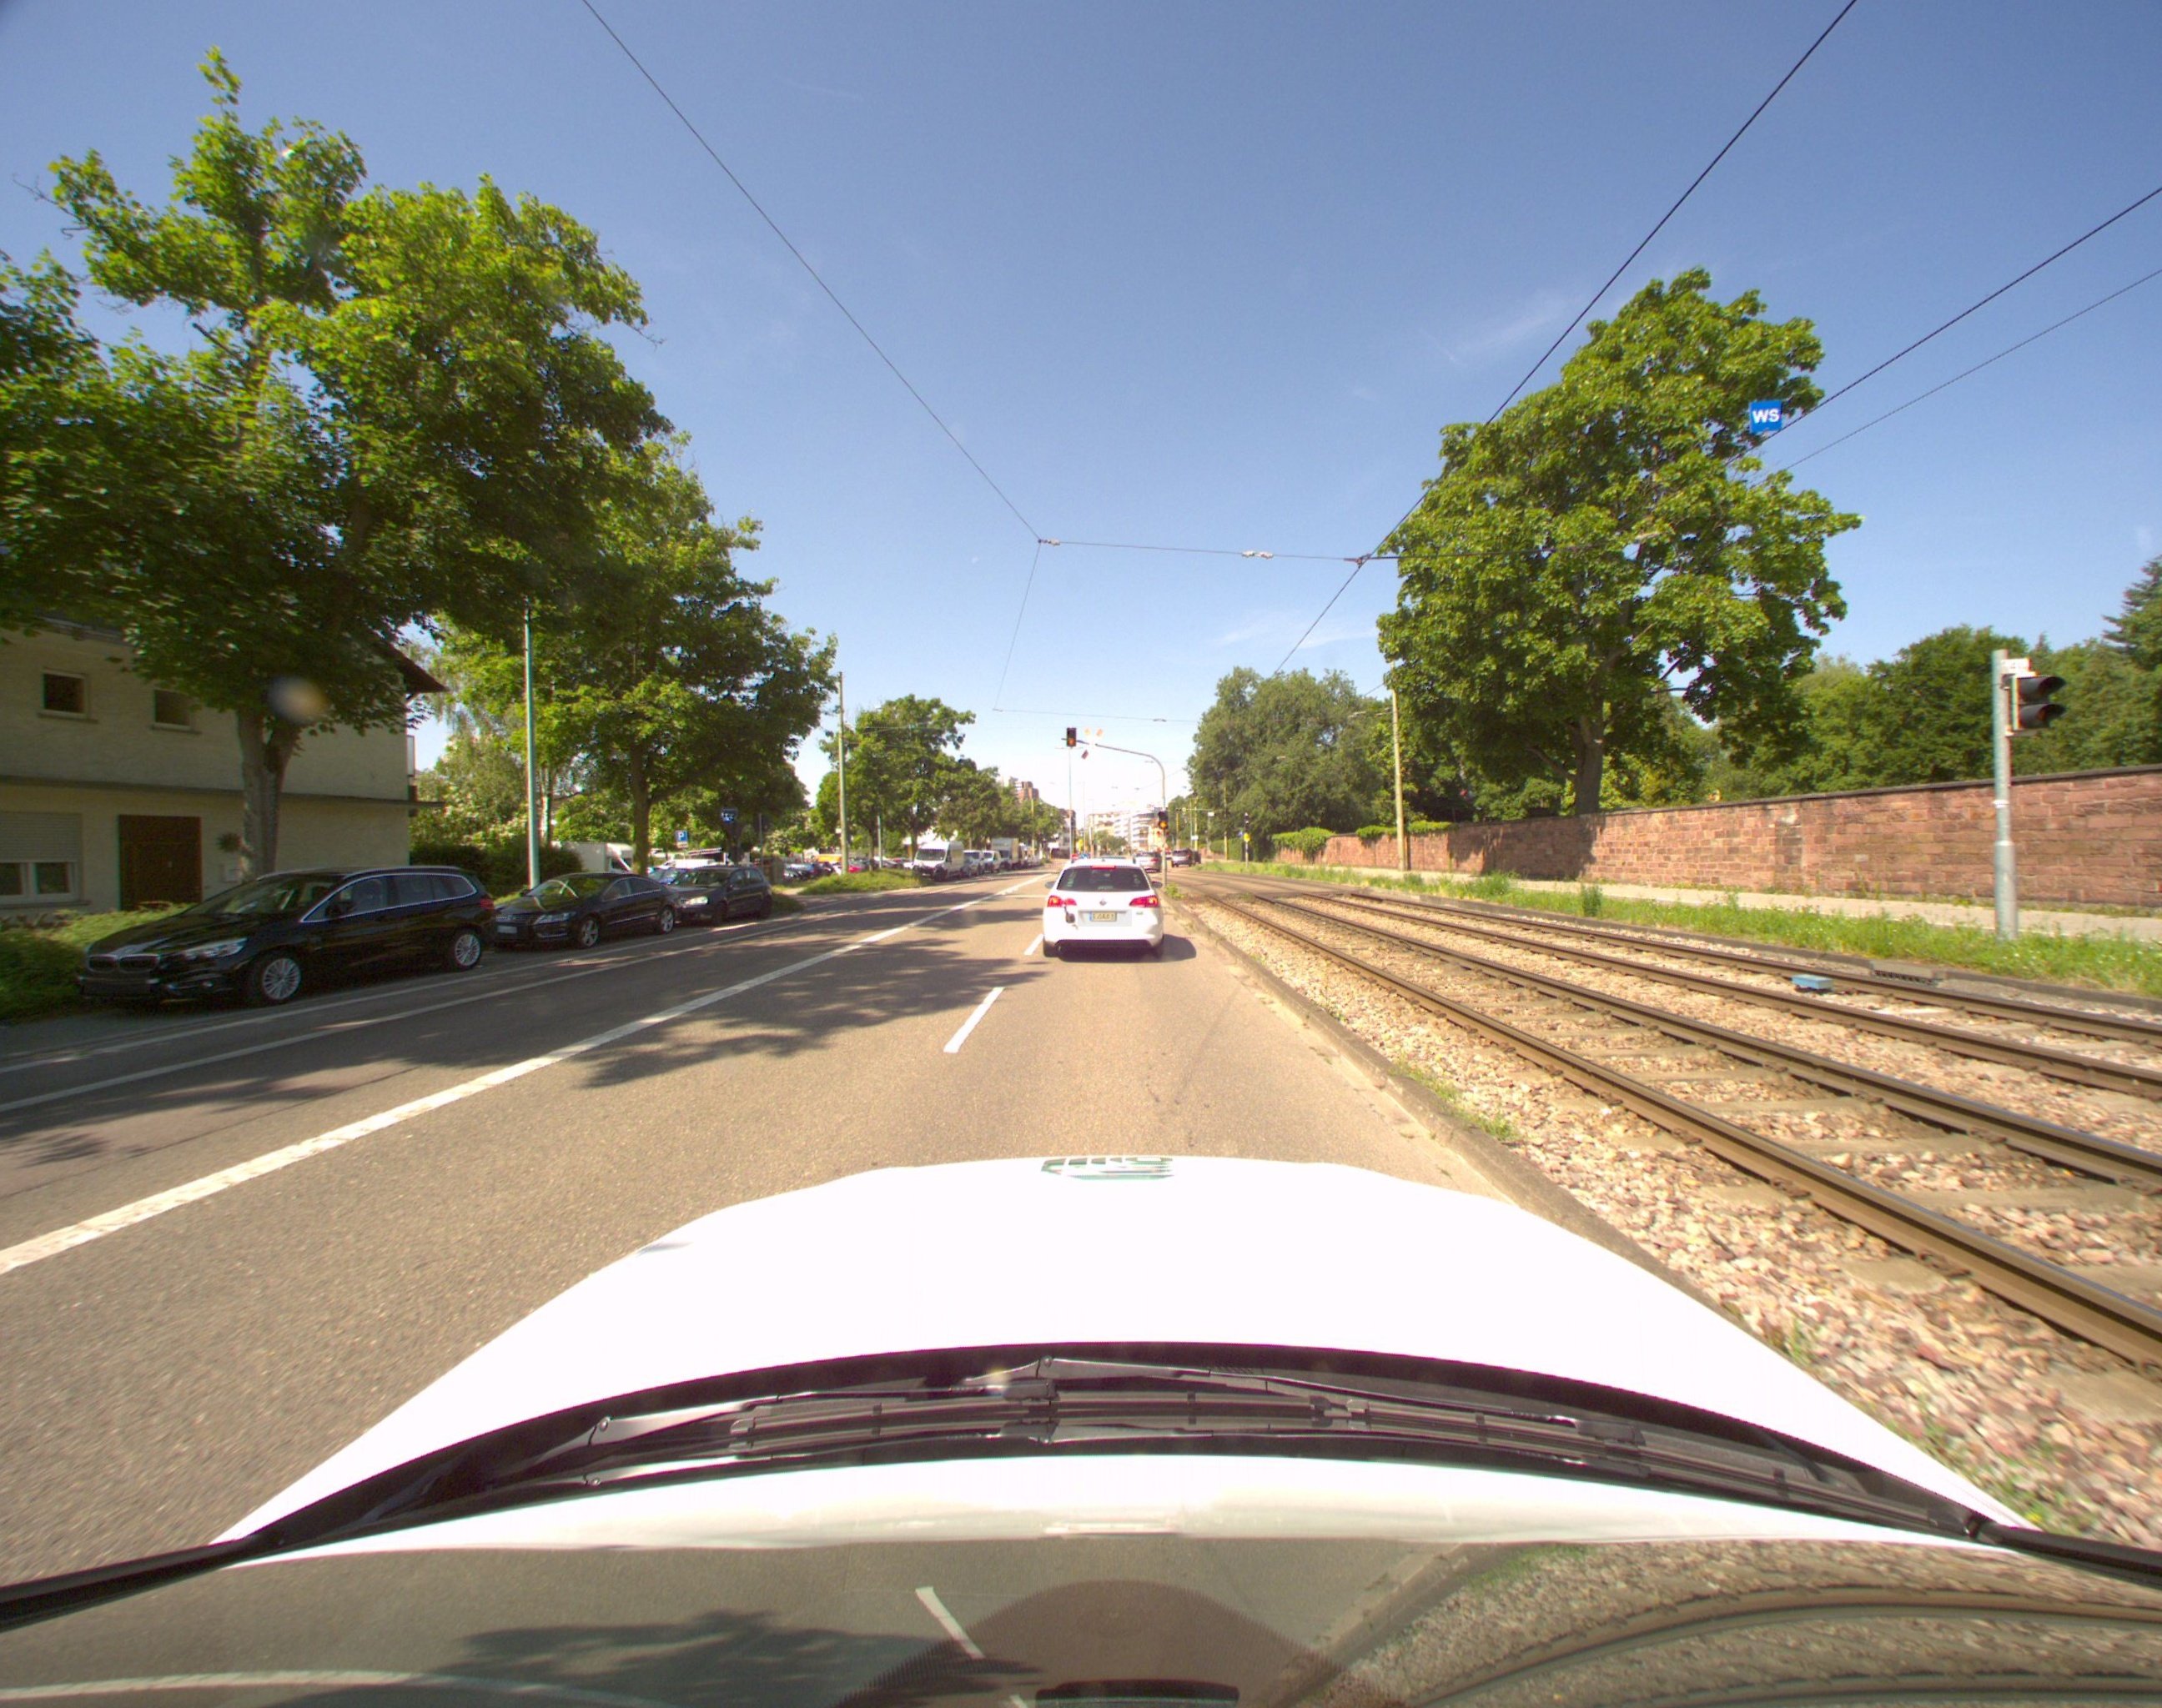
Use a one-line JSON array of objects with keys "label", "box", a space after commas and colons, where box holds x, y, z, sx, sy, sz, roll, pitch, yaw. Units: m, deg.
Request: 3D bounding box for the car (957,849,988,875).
[{"label": "car", "box": [-8.540, 0.594, 64.669, 1.839, 1.937, 5.190, -2, 0, -2]}]

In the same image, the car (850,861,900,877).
[{"label": "car", "box": [-18.507, 1.333, 73.195, 3.968, 1.225, 1.774, -2, 0, 4]}]

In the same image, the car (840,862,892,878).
[{"label": "car", "box": [-18.707, 1.368, 71.079, 3.968, 1.225, 1.774, -2, 0, 4]}]

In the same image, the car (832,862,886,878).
[{"label": "car", "box": [-18.719, 1.356, 68.741, 3.968, 1.225, 1.774, -2, 0, 4]}]

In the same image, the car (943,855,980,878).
[{"label": "car", "box": [-8.417, 0.838, 57.842, 1.836, 1.516, 4.199, -2, 0, 2]}]

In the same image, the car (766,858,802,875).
[{"label": "car", "box": [-33.406, 1.399, 91.668, 3.412, 1.876, 1.552, -2, 0, 0]}]

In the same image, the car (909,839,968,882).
[{"label": "car", "box": [-8.900, 0.353, 51.513, 2.049, 2.501, 6.315, 1, 0, 5]}]

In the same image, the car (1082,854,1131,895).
[{"label": "car", "box": [0.970, 0.712, 30.475, 1.739, 1.388, 3.915, 0, 0, 2]}]

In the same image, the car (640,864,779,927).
[{"label": "car", "box": [-9.672, 1.028, 21.574, 1.634, 1.450, 4.007, 1, 0, 3]}]

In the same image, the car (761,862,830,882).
[{"label": "car", "box": [-19.368, 1.205, 55.272, 3.968, 1.225, 1.774, -2, 0, 4]}]

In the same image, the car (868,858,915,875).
[{"label": "car", "box": [-18.235, 1.200, 78.331, 3.968, 1.444, 1.774, -2, 0, 4]}]

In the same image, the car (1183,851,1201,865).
[{"label": "car", "box": [11.814, 0.433, 86.556, 1.735, 1.407, 3.923, 1, 0, 10]}]

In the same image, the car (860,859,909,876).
[{"label": "car", "box": [-18.288, 1.224, 75.828, 3.968, 1.402, 1.774, -2, 0, 4]}]

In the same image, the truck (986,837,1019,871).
[{"label": "truck", "box": [-7.608, -0.018, 79.924, 2.348, 3.122, 6.893, -2, 0, 1]}]

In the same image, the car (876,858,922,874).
[{"label": "car", "box": [-18.057, 1.185, 80.874, 3.968, 1.444, 1.774, -2, 0, 4]}]

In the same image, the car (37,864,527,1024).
[{"label": "car", "box": [-10.183, 0.993, 11.125, 1.755, 1.606, 4.896, -1, 0, 2]}]

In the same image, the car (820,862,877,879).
[{"label": "car", "box": [-18.863, 1.324, 66.171, 3.968, 1.225, 1.774, -2, 0, 4]}]

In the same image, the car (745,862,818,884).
[{"label": "car", "box": [-19.226, 1.215, 52.445, 3.974, 1.225, 1.771, -2, 0, 0]}]

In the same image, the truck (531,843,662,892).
[{"label": "truck", "box": [-31.825, 0.853, 53.653, 7.118, 3.019, 2.231, 1, 0, -1]}]

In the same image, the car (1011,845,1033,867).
[{"label": "car", "box": [-6.836, 0.201, 95.055, 1.836, 2.494, 5.860, -2, 0, 3]}]

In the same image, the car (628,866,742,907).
[{"label": "car", "box": [-16.853, 1.364, 34.780, 3.885, 1.407, 1.753, -4, 1, 2]}]

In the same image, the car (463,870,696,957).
[{"label": "car", "box": [-9.977, 1.089, 16.747, 1.684, 1.379, 4.784, -1, 0, 2]}]

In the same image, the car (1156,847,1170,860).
[{"label": "car", "box": [16.267, -0.024, 161.702, 2.453, 2.499, 5.912, 1, -1, 2]}]

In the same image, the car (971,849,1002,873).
[{"label": "car", "box": [-8.176, 0.600, 70.867, 1.836, 1.960, 5.137, -2, 0, 3]}]

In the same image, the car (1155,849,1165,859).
[{"label": "car", "box": [14.799, 0.047, 153.422, 1.684, 1.812, 3.455, 1, -1, 2]}]

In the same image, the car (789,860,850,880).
[{"label": "car", "box": [-19.587, 1.214, 61.069, 3.968, 1.350, 1.774, -2, 0, 4]}]

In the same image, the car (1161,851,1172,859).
[{"label": "car", "box": [14.624, 0.146, 139.244, 1.575, 1.346, 3.455, 1, -1, 2]}]

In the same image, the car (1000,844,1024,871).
[{"label": "car", "box": [-7.354, 0.349, 87.073, 1.836, 2.668, 5.006, -2, 0, 3]}]

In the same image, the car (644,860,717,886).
[{"label": "car", "box": [-31.366, 1.472, 63.918, 4.682, 2.014, 1.998, 1, -1, -3]}]

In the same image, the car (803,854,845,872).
[{"label": "car", "box": [-30.485, 1.045, 96.674, 4.248, 2.014, 1.997, 1, -1, -4]}]

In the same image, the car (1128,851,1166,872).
[{"label": "car", "box": [4.606, 0.486, 56.014, 1.847, 1.416, 4.342, 1, 0, 14]}]

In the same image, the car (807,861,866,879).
[{"label": "car", "box": [-19.100, 1.261, 63.712, 3.968, 1.264, 1.774, -2, 0, 4]}]

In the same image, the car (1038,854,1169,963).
[{"label": "car", "box": [0.357, 0.736, 12.999, 1.761, 1.446, 3.914, 1, 0, 1]}]

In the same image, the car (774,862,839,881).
[{"label": "car", "box": [-19.659, 1.260, 58.416, 3.968, 1.225, 1.774, -2, 0, 4]}]

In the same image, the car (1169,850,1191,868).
[{"label": "car", "box": [8.921, 0.436, 73.518, 1.852, 1.513, 3.920, 1, 0, 6]}]

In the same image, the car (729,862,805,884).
[{"label": "car", "box": [-19.283, 1.158, 50.111, 3.974, 1.225, 1.771, -2, 0, 0]}]

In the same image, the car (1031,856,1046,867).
[{"label": "car", "box": [-6.032, 1.076, 115.537, 1.774, 1.433, 4.040, -2, 0, 2]}]
